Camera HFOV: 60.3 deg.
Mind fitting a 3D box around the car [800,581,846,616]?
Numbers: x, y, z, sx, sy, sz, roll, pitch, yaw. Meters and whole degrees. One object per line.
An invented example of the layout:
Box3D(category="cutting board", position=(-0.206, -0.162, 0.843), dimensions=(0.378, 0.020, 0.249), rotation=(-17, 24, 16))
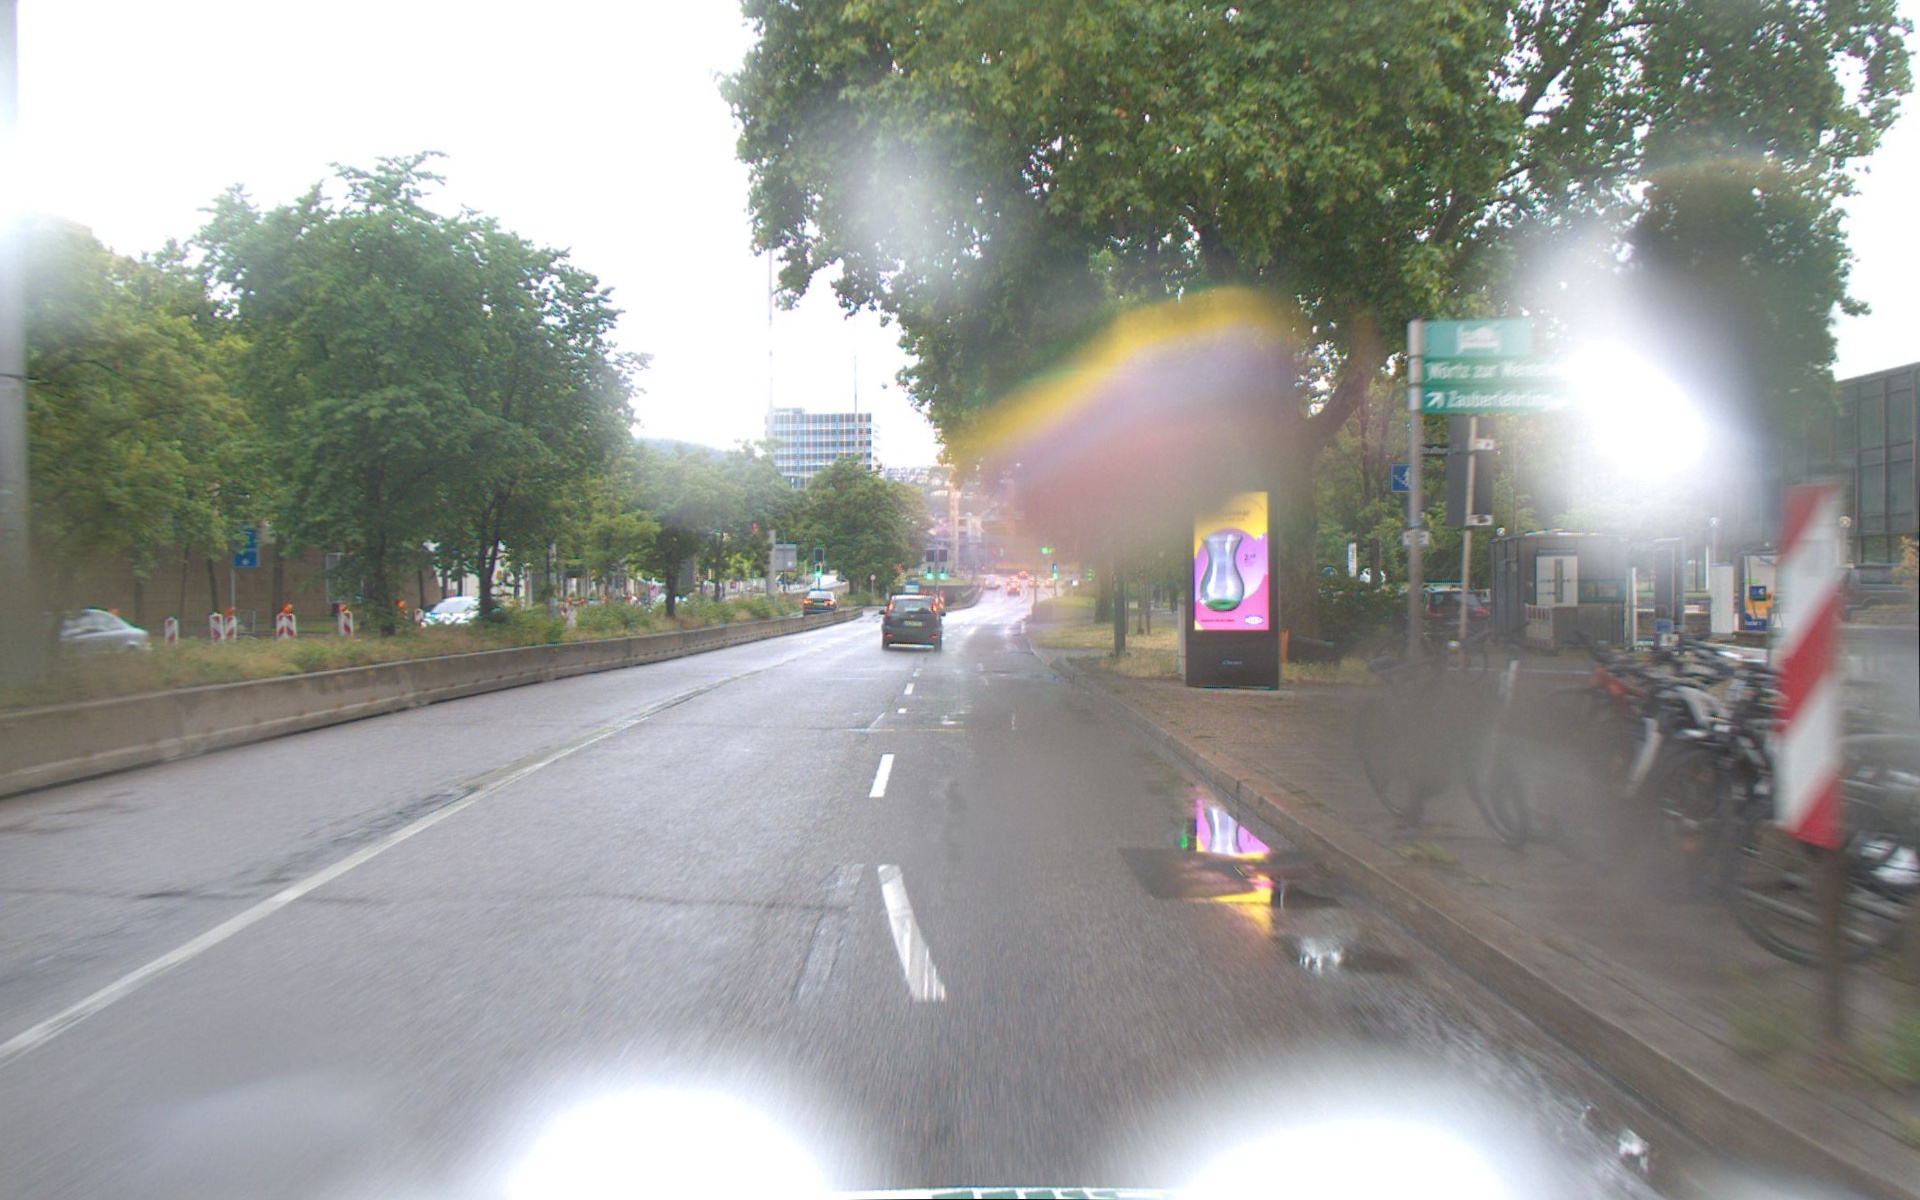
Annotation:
Box3D(category="car", position=(-7.371, -0.084, 89.385), dimensions=(1.952, 1.812, 4.002), rotation=(-1, 0, 3))

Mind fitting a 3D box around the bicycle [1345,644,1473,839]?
Box3D(category="bicycle", position=(2.609, 0.774, 9.632), dimensions=(0.655, 0.984, 1.638), rotation=(0, 0, 15))

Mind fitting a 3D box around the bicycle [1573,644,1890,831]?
Box3D(category="bicycle", position=(4.356, 0.766, 9.395), dimensions=(1.556, 1.012, 0.525), rotation=(0, 0, 2))

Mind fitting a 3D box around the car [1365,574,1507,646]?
Box3D(category="car", position=(11.724, 0.184, 41.105), dimensions=(1.953, 1.637, 5.236), rotation=(0, 1, -1))

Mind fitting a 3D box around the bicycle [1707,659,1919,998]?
Box3D(category="bicycle", position=(3.771, 0.759, 5.833), dimensions=(1.945, 1.078, 0.759), rotation=(0, 0, -3))

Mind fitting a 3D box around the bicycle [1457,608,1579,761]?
Box3D(category="bicycle", position=(4.787, 0.690, 14.301), dimensions=(0.592, 1.218, 1.906), rotation=(-2, -1, 7))

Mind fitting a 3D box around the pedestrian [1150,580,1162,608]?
Box3D(category="pedestrian", position=(12.893, -0.386, 108.784), dimensions=(0.582, 1.786, 0.725), rotation=(-2, 1, -1))

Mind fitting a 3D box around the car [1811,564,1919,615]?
Box3D(category="car", position=(34.332, -0.390, 60.752), dimensions=(4.905, 1.794, 2.460), rotation=(0, 0, -2))

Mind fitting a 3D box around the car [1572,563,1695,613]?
Box3D(category="car", position=(25.379, -0.440, 62.406), dimensions=(3.904, 1.628, 1.657), rotation=(-3, 0, 3))

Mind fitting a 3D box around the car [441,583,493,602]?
Box3D(category="car", position=(-42.460, -0.634, 142.563), dimensions=(3.906, 1.624, 2.000), rotation=(-1, 0, -1))

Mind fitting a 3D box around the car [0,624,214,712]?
Box3D(category="car", position=(-17.981, 1.380, 35.087), dimensions=(1.952, 1.653, 4.809), rotation=(-2, -1, 2))

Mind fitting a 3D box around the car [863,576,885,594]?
Box3D(category="car", position=(-7.875, -1.347, 150.912), dimensions=(1.954, 1.661, 3.998), rotation=(0, 0, -3))

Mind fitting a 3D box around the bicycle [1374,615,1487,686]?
Box3D(category="bicycle", position=(7.387, 0.787, 26.027), dimensions=(1.606, 1.038, 0.575), rotation=(2, -1, 5))

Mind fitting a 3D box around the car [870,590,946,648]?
Box3D(category="car", position=(-1.464, 0.524, 44.985), dimensions=(1.808, 1.441, 3.835), rotation=(-2, -1, -5))

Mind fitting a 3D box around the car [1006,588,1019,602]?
Box3D(category="car", position=(7.372, -0.677, 232.294), dimensions=(1.702, 1.802, 4.001), rotation=(-2, -1, 3))

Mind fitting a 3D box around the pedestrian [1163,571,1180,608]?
Box3D(category="pedestrian", position=(10.146, -0.485, 79.394), dimensions=(0.690, 1.748, 0.693), rotation=(-2, 0, 2))

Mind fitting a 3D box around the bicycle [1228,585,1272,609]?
Box3D(category="bicycle", position=(14.940, -0.147, 85.197), dimensions=(1.996, 1.194, 0.958), rotation=(-1, 1, -9))

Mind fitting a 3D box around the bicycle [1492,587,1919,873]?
Box3D(category="bicycle", position=(3.815, 0.616, 8.210), dimensions=(2.145, 1.360, 0.650), rotation=(0, 0, 2))

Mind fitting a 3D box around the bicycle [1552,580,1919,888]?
Box3D(category="bicycle", position=(3.827, 0.603, 7.750), dimensions=(1.866, 1.356, 0.650), rotation=(1, 0, 2))

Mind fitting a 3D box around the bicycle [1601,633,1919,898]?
Box3D(category="bicycle", position=(3.796, 0.707, 7.347), dimensions=(1.644, 1.109, 0.650), rotation=(0, 0, 2))

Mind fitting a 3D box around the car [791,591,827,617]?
Box3D(category="car", position=(-8.768, 0.228, 96.163), dimensions=(1.718, 1.477, 4.000), rotation=(1, 0, 0))

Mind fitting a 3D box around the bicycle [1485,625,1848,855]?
Box3D(category="bicycle", position=(3.664, 0.711, 8.657), dimensions=(1.644, 1.142, 0.601), rotation=(0, 0, 2))

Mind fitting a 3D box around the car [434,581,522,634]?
Box3D(category="car", position=(-14.689, 0.209, 50.634), dimensions=(1.513, 1.534, 3.931), rotation=(0, 0, 0))
